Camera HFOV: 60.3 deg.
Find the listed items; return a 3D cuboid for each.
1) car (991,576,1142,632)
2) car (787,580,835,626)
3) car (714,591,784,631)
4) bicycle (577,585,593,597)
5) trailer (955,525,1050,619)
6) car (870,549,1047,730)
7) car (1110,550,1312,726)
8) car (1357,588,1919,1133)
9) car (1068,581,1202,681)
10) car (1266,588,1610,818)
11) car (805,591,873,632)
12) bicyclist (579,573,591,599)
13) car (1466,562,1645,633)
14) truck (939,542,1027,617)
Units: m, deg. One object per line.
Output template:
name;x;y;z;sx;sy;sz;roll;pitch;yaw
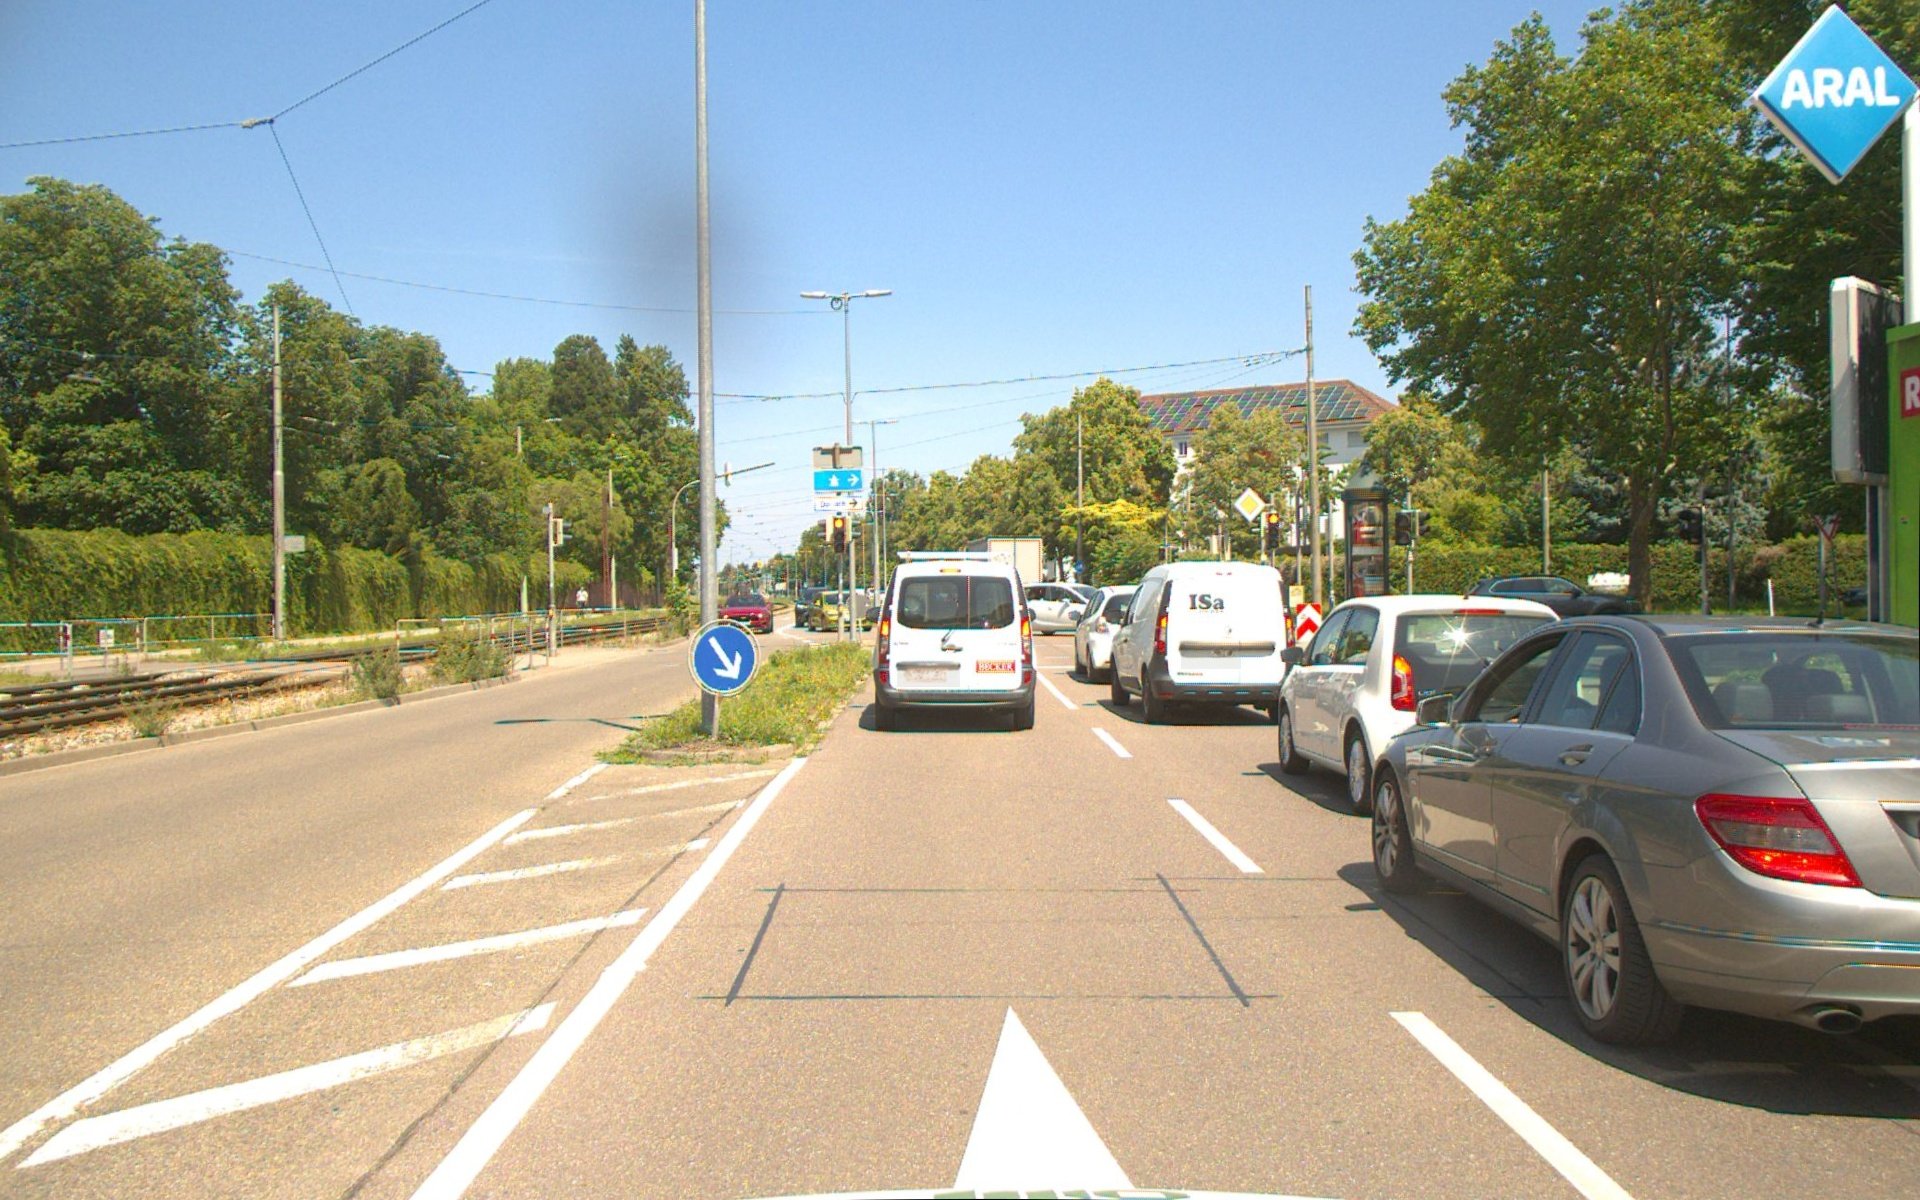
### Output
car;3.267;0.125;51.112;4.374;1.645;1.989;-1;0;41
car;-6.342;0.114;70.149;1.955;1.892;3.995;-1;0;-6
car;-7.664;0.374;60.519;1.943;1.382;4.538;-1;0;0
bicycle;-21.695;-0.512;95.720;0.549;0.659;1.720;-1;0;0
trailer;1.881;-1.273;77.886;3.459;4.121;8.968;-1;0;-5
car;-0.070;0.389;18.979;1.829;1.868;3.847;0;0;-2
car;2.884;0.390;19.793;1.675;1.862;4.012;1;0;-2
car;3.042;0.700;6.760;1.759;1.475;4.417;-1;0;0
car;2.837;0.469;27.585;1.720;1.512;3.999;-1;0;-1
car;3.453;0.663;12.574;1.574;1.477;3.521;1;0;0
car;-4.433;0.391;60.238;1.516;1.403;3.980;-1;0;-19
bicyclist;-21.709;-0.829;95.638;0.546;1.504;0.561;-1;0;0
car;16.283;-0.064;45.466;4.428;1.861;2.002;-1;0;14
truck;1.091;-1.052;86.722;3.507;3.696;8.796;-1;0;-6
